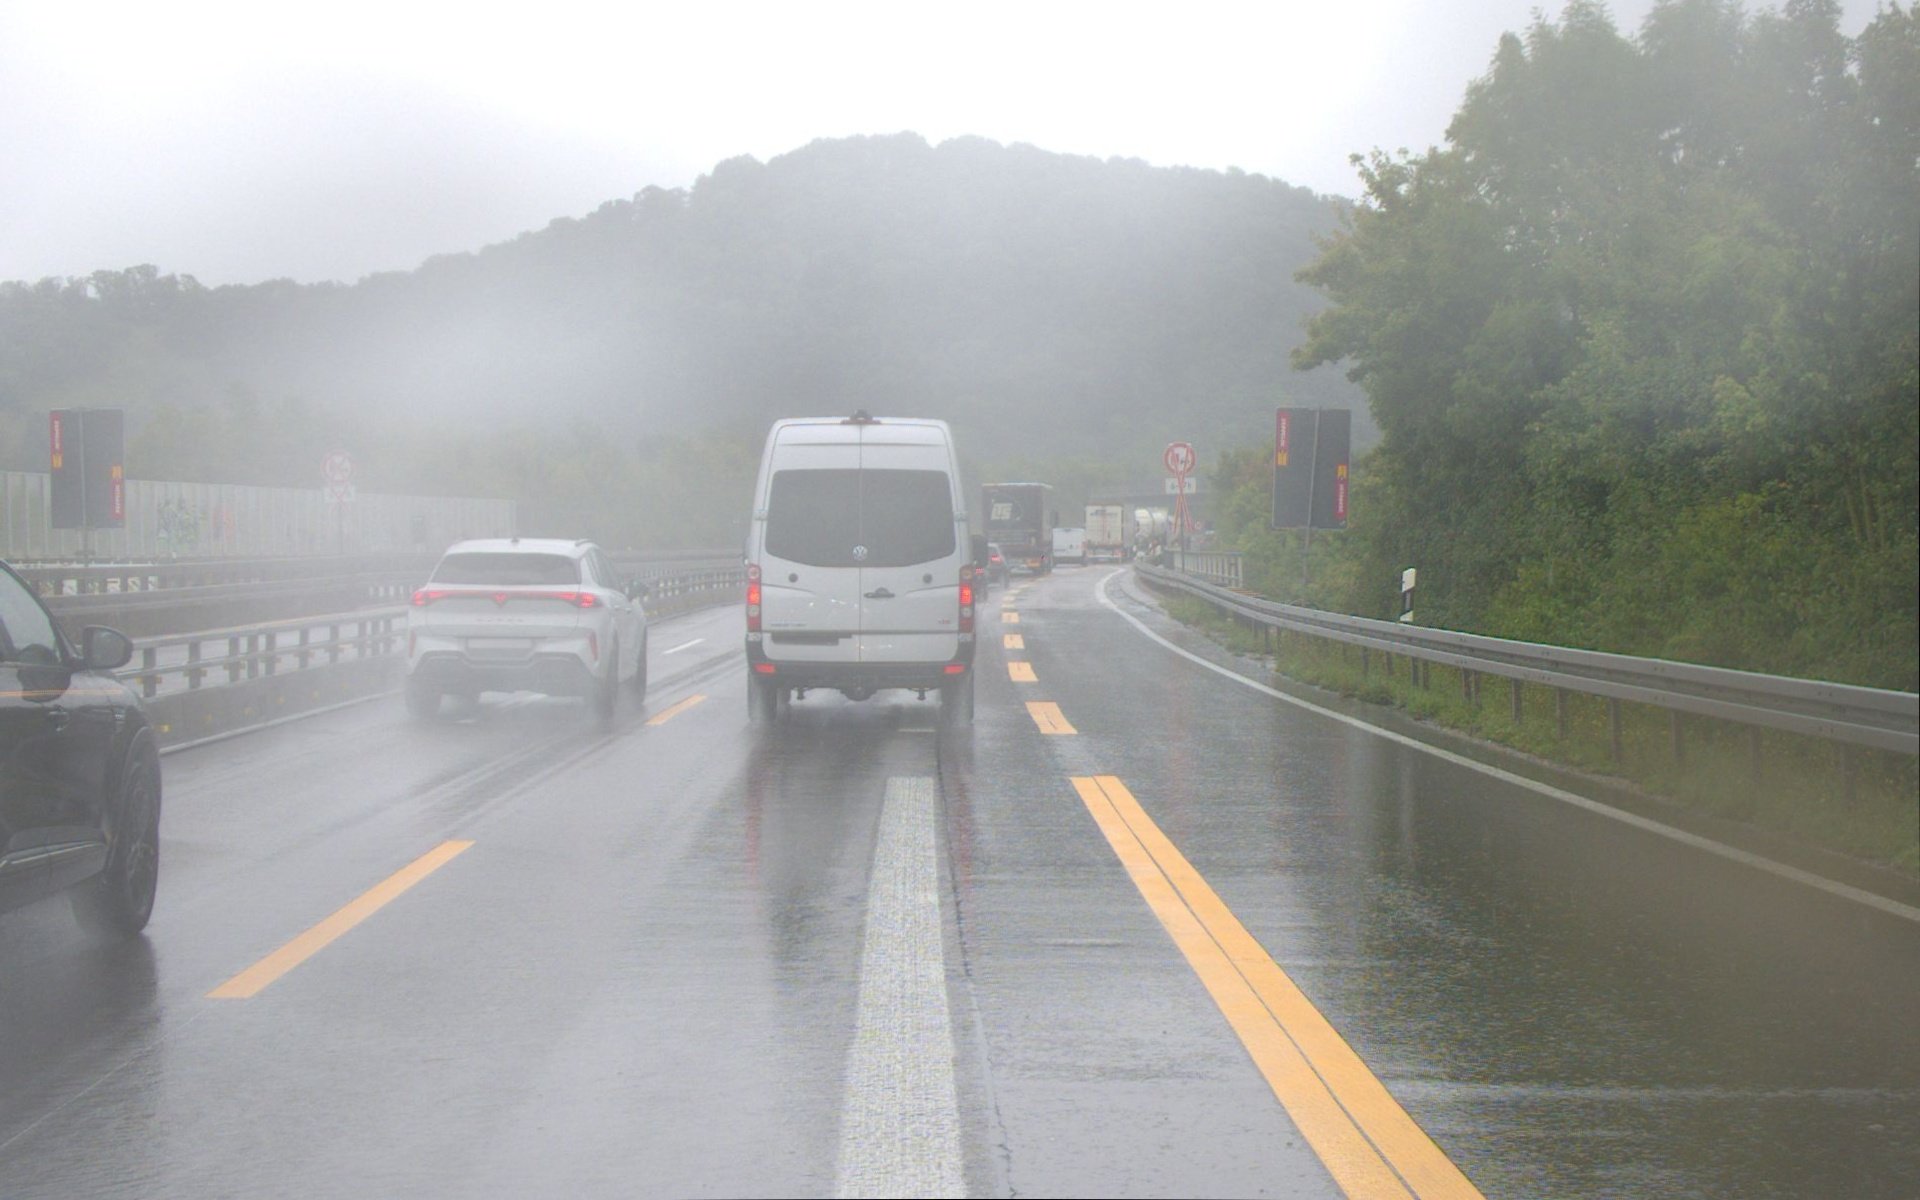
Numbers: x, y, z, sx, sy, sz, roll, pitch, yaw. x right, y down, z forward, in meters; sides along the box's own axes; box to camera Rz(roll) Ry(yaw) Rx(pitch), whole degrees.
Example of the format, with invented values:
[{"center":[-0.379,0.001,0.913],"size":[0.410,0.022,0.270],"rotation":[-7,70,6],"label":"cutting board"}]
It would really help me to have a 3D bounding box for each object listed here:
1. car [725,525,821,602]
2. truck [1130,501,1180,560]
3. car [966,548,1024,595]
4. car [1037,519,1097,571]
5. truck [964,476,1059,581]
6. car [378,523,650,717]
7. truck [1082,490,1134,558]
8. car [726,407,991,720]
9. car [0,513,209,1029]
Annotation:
[{"center":[-3.934,-0.776,72.671],"size":[1.946,1.556,4.000],"rotation":[1,1,-3],"label":"car"},{"center":[15.077,-5.288,264.733],"size":[2.899,4.391,9.621],"rotation":[1,1,8],"label":"truck"},{"center":[1.140,-0.922,110.411],"size":[1.774,1.470,4.000],"rotation":[1,1,2],"label":"car"},{"center":[6.131,-3.110,196.509],"size":[2.899,2.877,6.410],"rotation":[1,1,6],"label":"car"},{"center":[2.305,-3.071,150.714],"size":[3.582,4.391,9.623],"rotation":[1,1,4],"label":"truck"},{"center":[-4.002,0.144,31.581],"size":[1.993,1.612,4.797],"rotation":[1,1,-2],"label":"car"},{"center":[10.049,-5.074,231.852],"size":[3.036,4.391,9.622],"rotation":[1,1,5],"label":"truck"},{"center":[-0.880,-0.331,31.176],"size":[2.145,2.562,5.390],"rotation":[1,1,-1],"label":"car"},{"center":[-3.940,0.499,11.356],"size":[1.993,1.579,4.414],"rotation":[1,1,-1],"label":"car"}]
